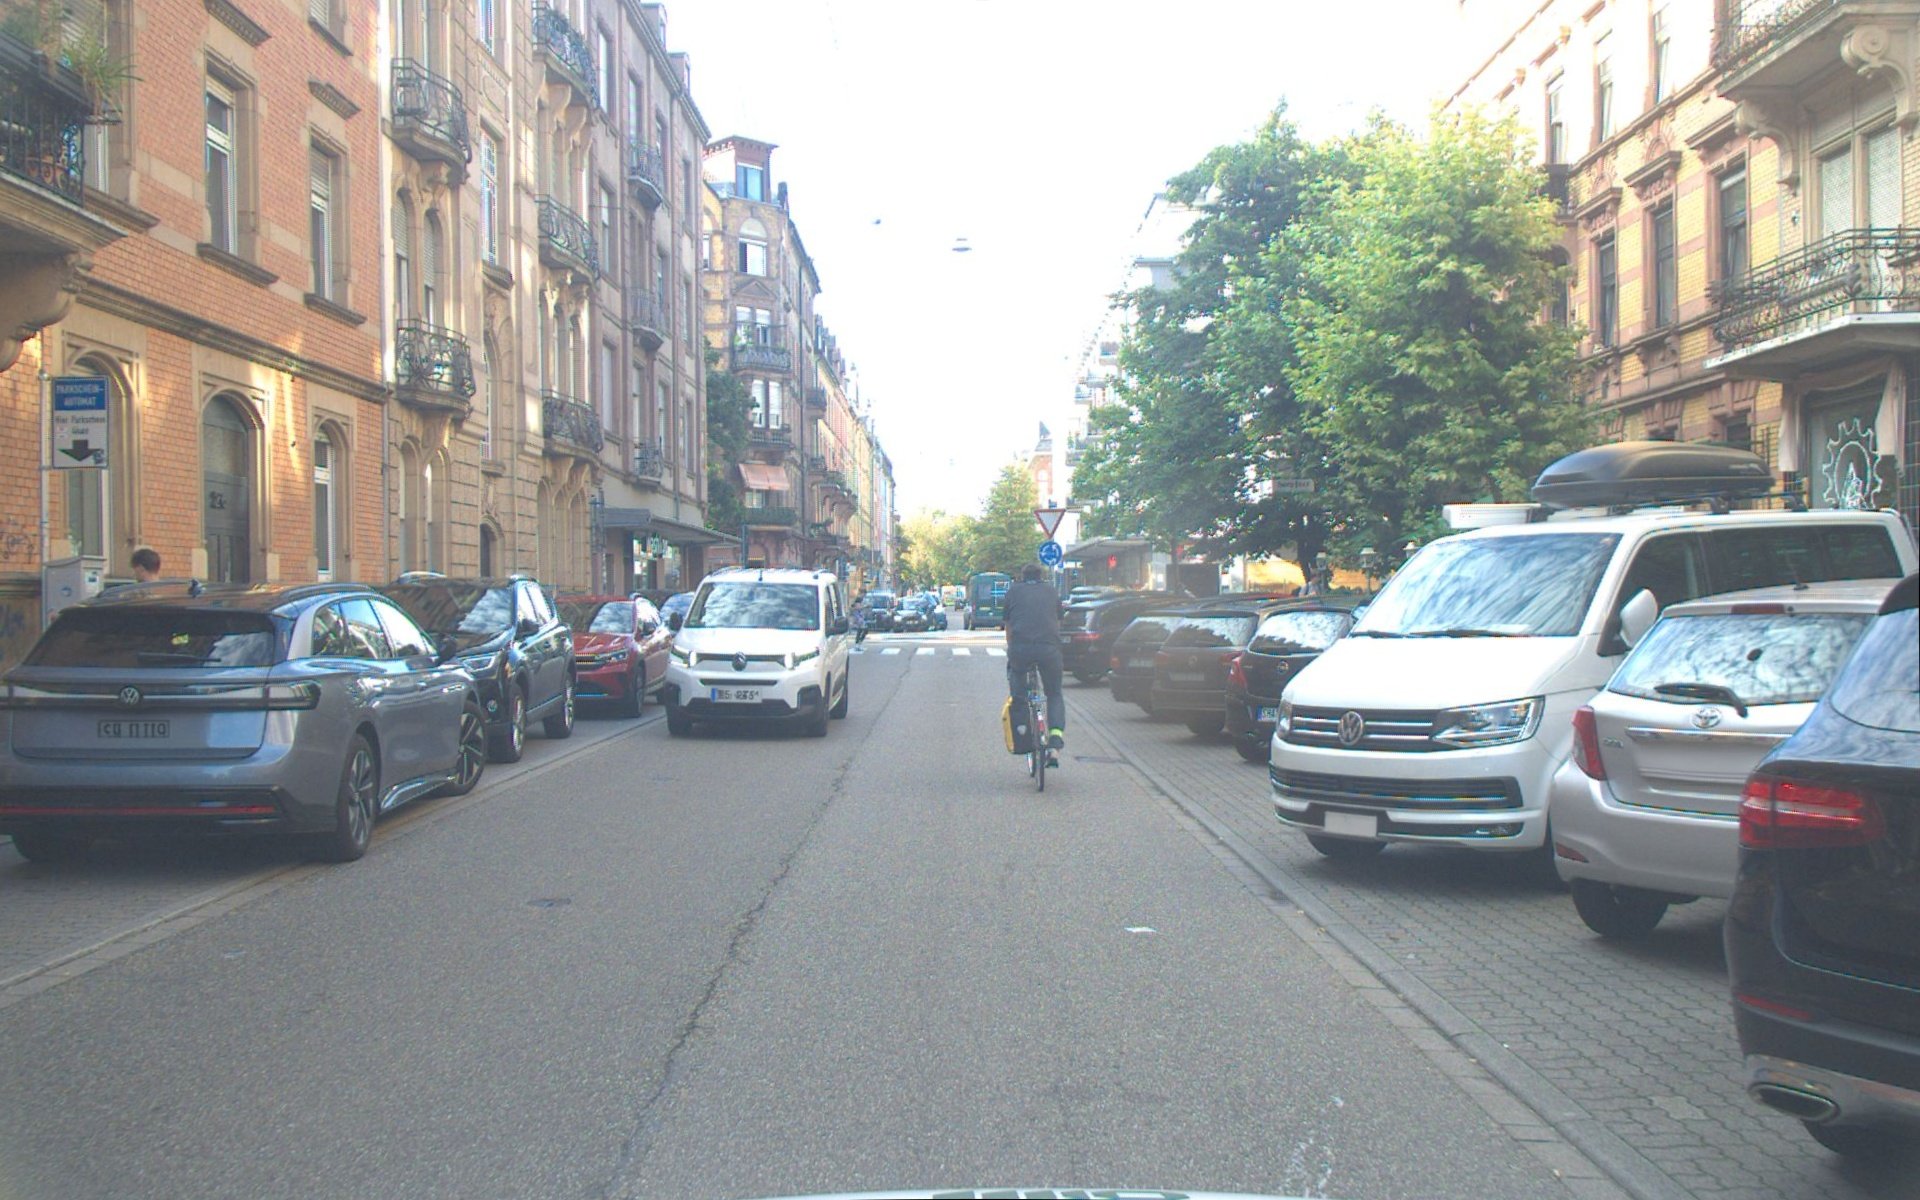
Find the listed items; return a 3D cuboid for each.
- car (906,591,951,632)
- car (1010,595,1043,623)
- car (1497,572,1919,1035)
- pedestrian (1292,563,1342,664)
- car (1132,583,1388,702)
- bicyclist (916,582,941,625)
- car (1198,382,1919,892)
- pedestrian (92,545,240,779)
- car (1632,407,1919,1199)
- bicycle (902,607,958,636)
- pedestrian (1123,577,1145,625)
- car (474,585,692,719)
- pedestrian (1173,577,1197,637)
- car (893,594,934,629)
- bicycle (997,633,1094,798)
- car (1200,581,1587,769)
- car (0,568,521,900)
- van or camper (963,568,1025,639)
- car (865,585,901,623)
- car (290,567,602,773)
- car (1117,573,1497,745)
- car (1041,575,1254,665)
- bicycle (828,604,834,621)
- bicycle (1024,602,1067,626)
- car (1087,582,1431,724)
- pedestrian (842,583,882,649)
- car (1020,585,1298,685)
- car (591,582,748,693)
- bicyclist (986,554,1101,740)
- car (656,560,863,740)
[{"bbox_3d":[-1.510,0.530,81.020,1.902,1.752,4.851,-2,2,2],"label":"car"},{"bbox_3d":[3.458,0.437,86.286,1.611,1.347,3.577,-3,0,1],"label":"car"},{"bbox_3d":[4.525,0.677,7.545,4.189,1.576,1.850,0,1,-36],"label":"car"},{"bbox_3d":[6.942,0.258,32.189,0.822,1.911,0.723,-1,0,4],"label":"pedestrian"},{"bbox_3d":[4.477,0.571,24.475,3.683,1.511,1.717,-3,1,-39],"label":"car"},{"bbox_3d":[-1.267,0.141,65.864,0.836,1.695,0.791,1,0,10],"label":"bicyclist"},{"bbox_3d":[4.027,0.120,10.161,5.097,2.447,1.896,-2,0,-34],"label":"car"},{"bbox_3d":[-6.479,0.489,13.531,0.740,1.839,0.863,1,0,3],"label":"pedestrian"},{"bbox_3d":[3.953,0.479,4.434,4.407,1.762,1.975,0,1,-36],"label":"car"},{"bbox_3d":[-1.198,0.866,65.851,2.138,1.111,0.678,1,0,10],"label":"bicycle"},{"bbox_3d":[6.978,0.048,66.230,0.850,1.883,0.613,-1,0,5],"label":"pedestrian"},{"bbox_3d":[-4.878,0.627,22.051,1.953,1.572,4.426,-1,0,-1],"label":"car"},{"bbox_3d":[6.676,0.209,49.057,0.615,1.769,0.776,-1,0,12],"label":"pedestrian"},{"bbox_3d":[-2.026,0.494,71.817,1.714,1.461,4.210,0,-1,-2],"label":"car"},{"bbox_3d":[0.677,0.900,13.783,0.652,1.198,2.497,1,0,0],"label":"bicycle"},{"bbox_3d":[4.264,0.630,15.956,3.961,1.485,1.724,-3,1,-42],"label":"car"},{"bbox_3d":[-4.276,0.648,10.660,1.789,1.606,5.259,1,0,-4],"label":"car"},{"bbox_3d":[1.506,0.152,75.125,2.480,3.090,4.457,-1,0,-2],"label":"van or camper"},{"bbox_3d":[-4.299,0.237,93.019,1.953,2.049,3.998,-1,0,-2],"label":"car"},{"bbox_3d":[-4.833,0.558,16.314,1.836,1.710,4.891,1,1,-4],"label":"car"},{"bbox_3d":[4.010,0.573,18.688,4.429,1.502,1.862,-5,2,-40],"label":"car"},{"bbox_3d":[4.097,0.404,35.991,4.289,1.673,1.806,-4,1,-27],"label":"car"},{"bbox_3d":[-7.490,0.738,95.925,0.353,0.963,1.714,0,0,-5],"label":"bicycle"},{"bbox_3d":[3.918,0.642,75.802,1.959,1.063,0.532,-1,0,2],"label":"bicycle"},{"bbox_3d":[3.960,0.613,21.591,4.418,1.490,1.856,-4,2,-35],"label":"car"},{"bbox_3d":[-2.732,0.453,46.009,0.769,1.811,0.789,-1,0,38],"label":"pedestrian"},{"bbox_3d":[3.627,0.579,30.009,4.700,1.482,2.037,-3,2,-29],"label":"car"},{"bbox_3d":[-4.713,0.584,27.524,1.754,1.657,4.847,-1,0,0],"label":"car"},{"bbox_3d":[0.685,0.380,13.858,0.914,1.510,0.747,1,0,-1],"label":"bicyclist"},{"bbox_3d":[-2.233,0.522,19.558,1.878,1.860,4.438,1,0,0],"label":"car"}]
